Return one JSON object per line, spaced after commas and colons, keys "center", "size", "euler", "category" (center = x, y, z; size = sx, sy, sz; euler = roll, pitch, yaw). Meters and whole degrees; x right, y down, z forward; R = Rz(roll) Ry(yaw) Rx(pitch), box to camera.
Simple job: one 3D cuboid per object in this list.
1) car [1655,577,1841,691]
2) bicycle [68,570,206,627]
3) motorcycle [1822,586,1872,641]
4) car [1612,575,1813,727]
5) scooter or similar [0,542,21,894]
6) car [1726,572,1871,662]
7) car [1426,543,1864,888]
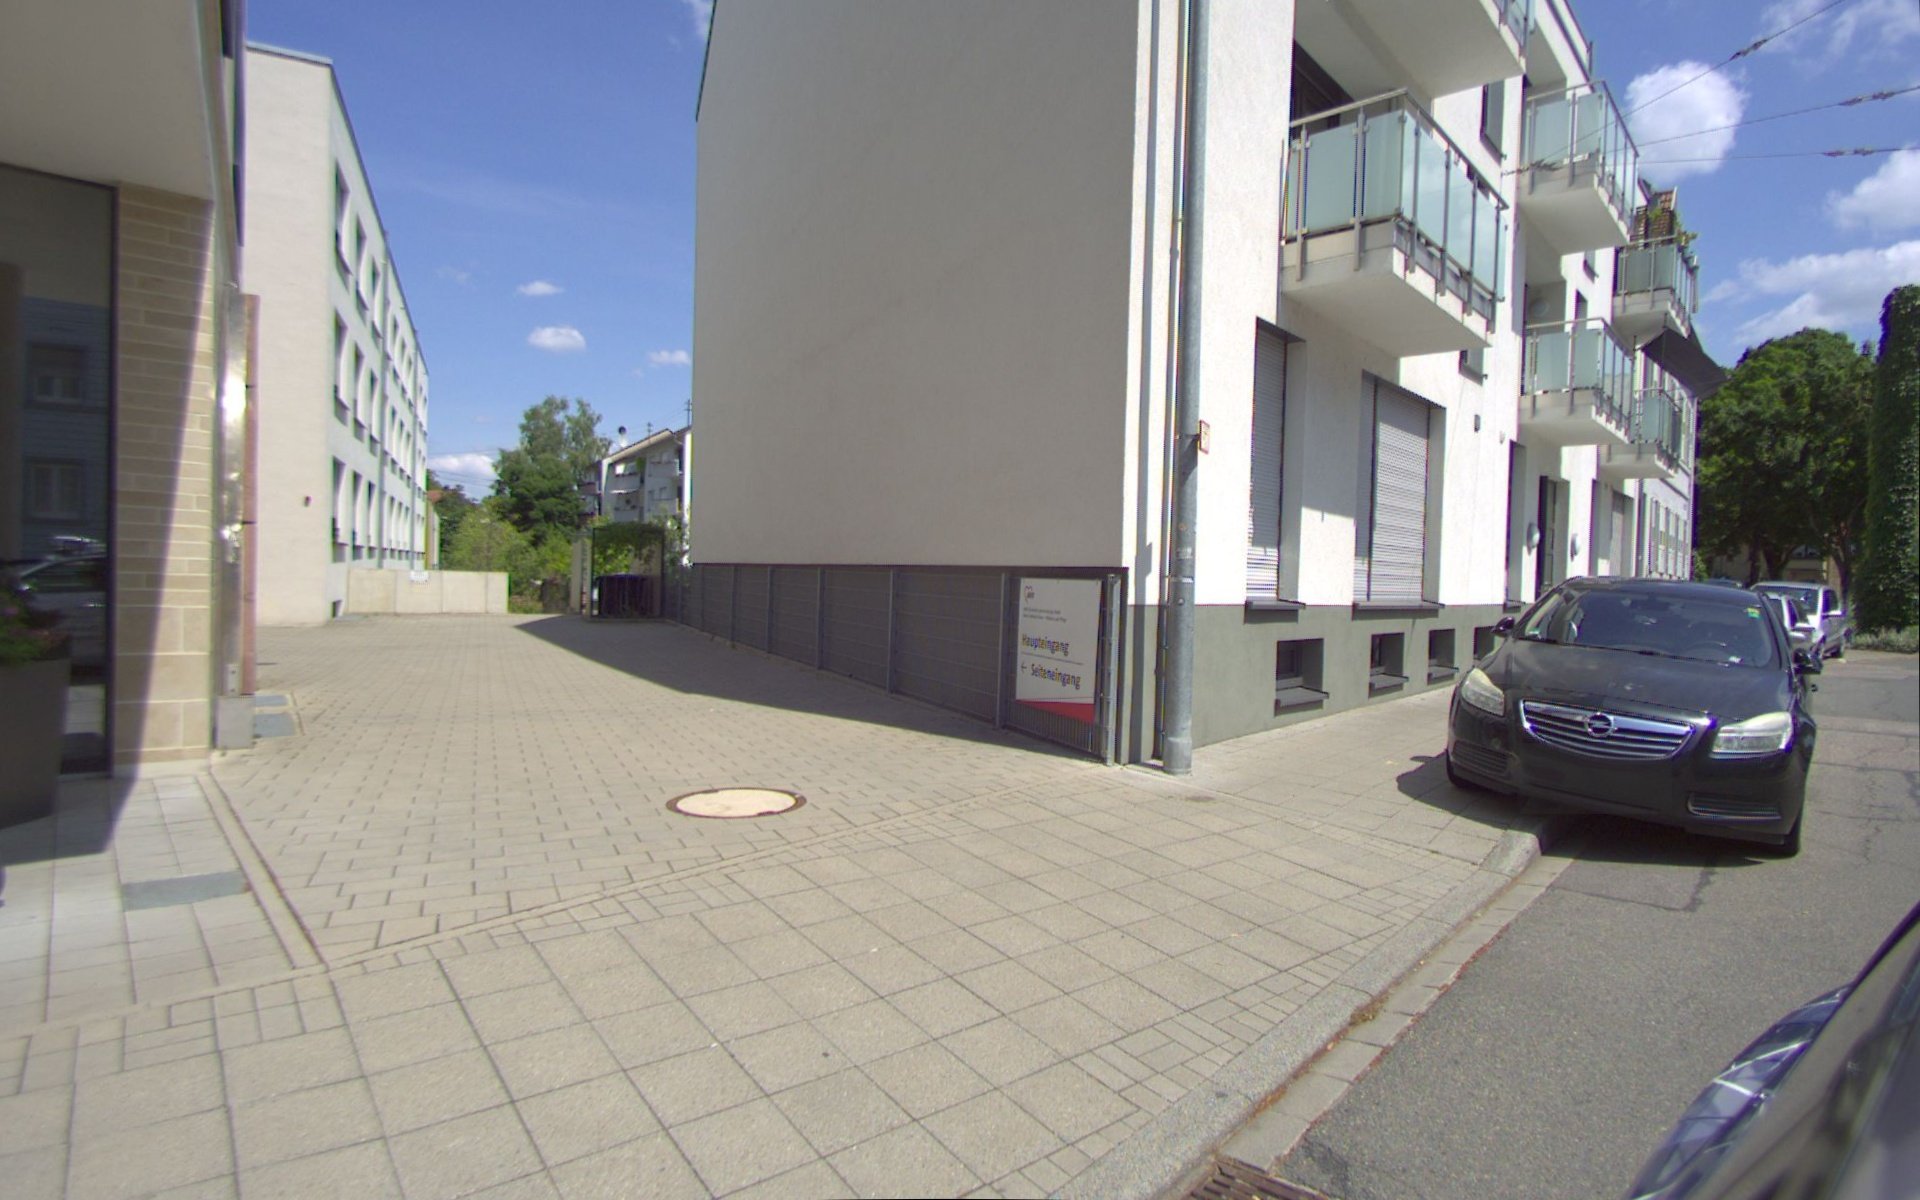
{"center": [12.623, 0.429, 16.122], "size": [3.977, 1.449, 1.729], "euler": [-1, 6, -45], "category": "car"}
{"center": [-14.886, -0.035, 18.369], "size": [1.828, 0.978, 0.697], "euler": [0, 2, -29], "category": "bicycle"}
{"center": [23.629, 0.331, 26.944], "size": [2.300, 1.369, 0.800], "euler": [-1, 2, -44], "category": "motorcycle"}
{"center": [9.333, 0.487, 12.447], "size": [1.592, 1.449, 3.652], "euler": [7, 6, 41], "category": "car"}
{"center": [-3.878, 0.413, 3.201], "size": [0.421, 1.226, 1.296], "euler": [2, 2, 40], "category": "scooter or similar"}
{"center": [17.831, 0.273, 21.479], "size": [3.735, 1.630, 1.730], "euler": [-2, 5, -42], "category": "car"}
{"center": [4.892, 0.455, 7.058], "size": [1.798, 1.527, 4.483], "euler": [7, 6, 39], "category": "car"}
